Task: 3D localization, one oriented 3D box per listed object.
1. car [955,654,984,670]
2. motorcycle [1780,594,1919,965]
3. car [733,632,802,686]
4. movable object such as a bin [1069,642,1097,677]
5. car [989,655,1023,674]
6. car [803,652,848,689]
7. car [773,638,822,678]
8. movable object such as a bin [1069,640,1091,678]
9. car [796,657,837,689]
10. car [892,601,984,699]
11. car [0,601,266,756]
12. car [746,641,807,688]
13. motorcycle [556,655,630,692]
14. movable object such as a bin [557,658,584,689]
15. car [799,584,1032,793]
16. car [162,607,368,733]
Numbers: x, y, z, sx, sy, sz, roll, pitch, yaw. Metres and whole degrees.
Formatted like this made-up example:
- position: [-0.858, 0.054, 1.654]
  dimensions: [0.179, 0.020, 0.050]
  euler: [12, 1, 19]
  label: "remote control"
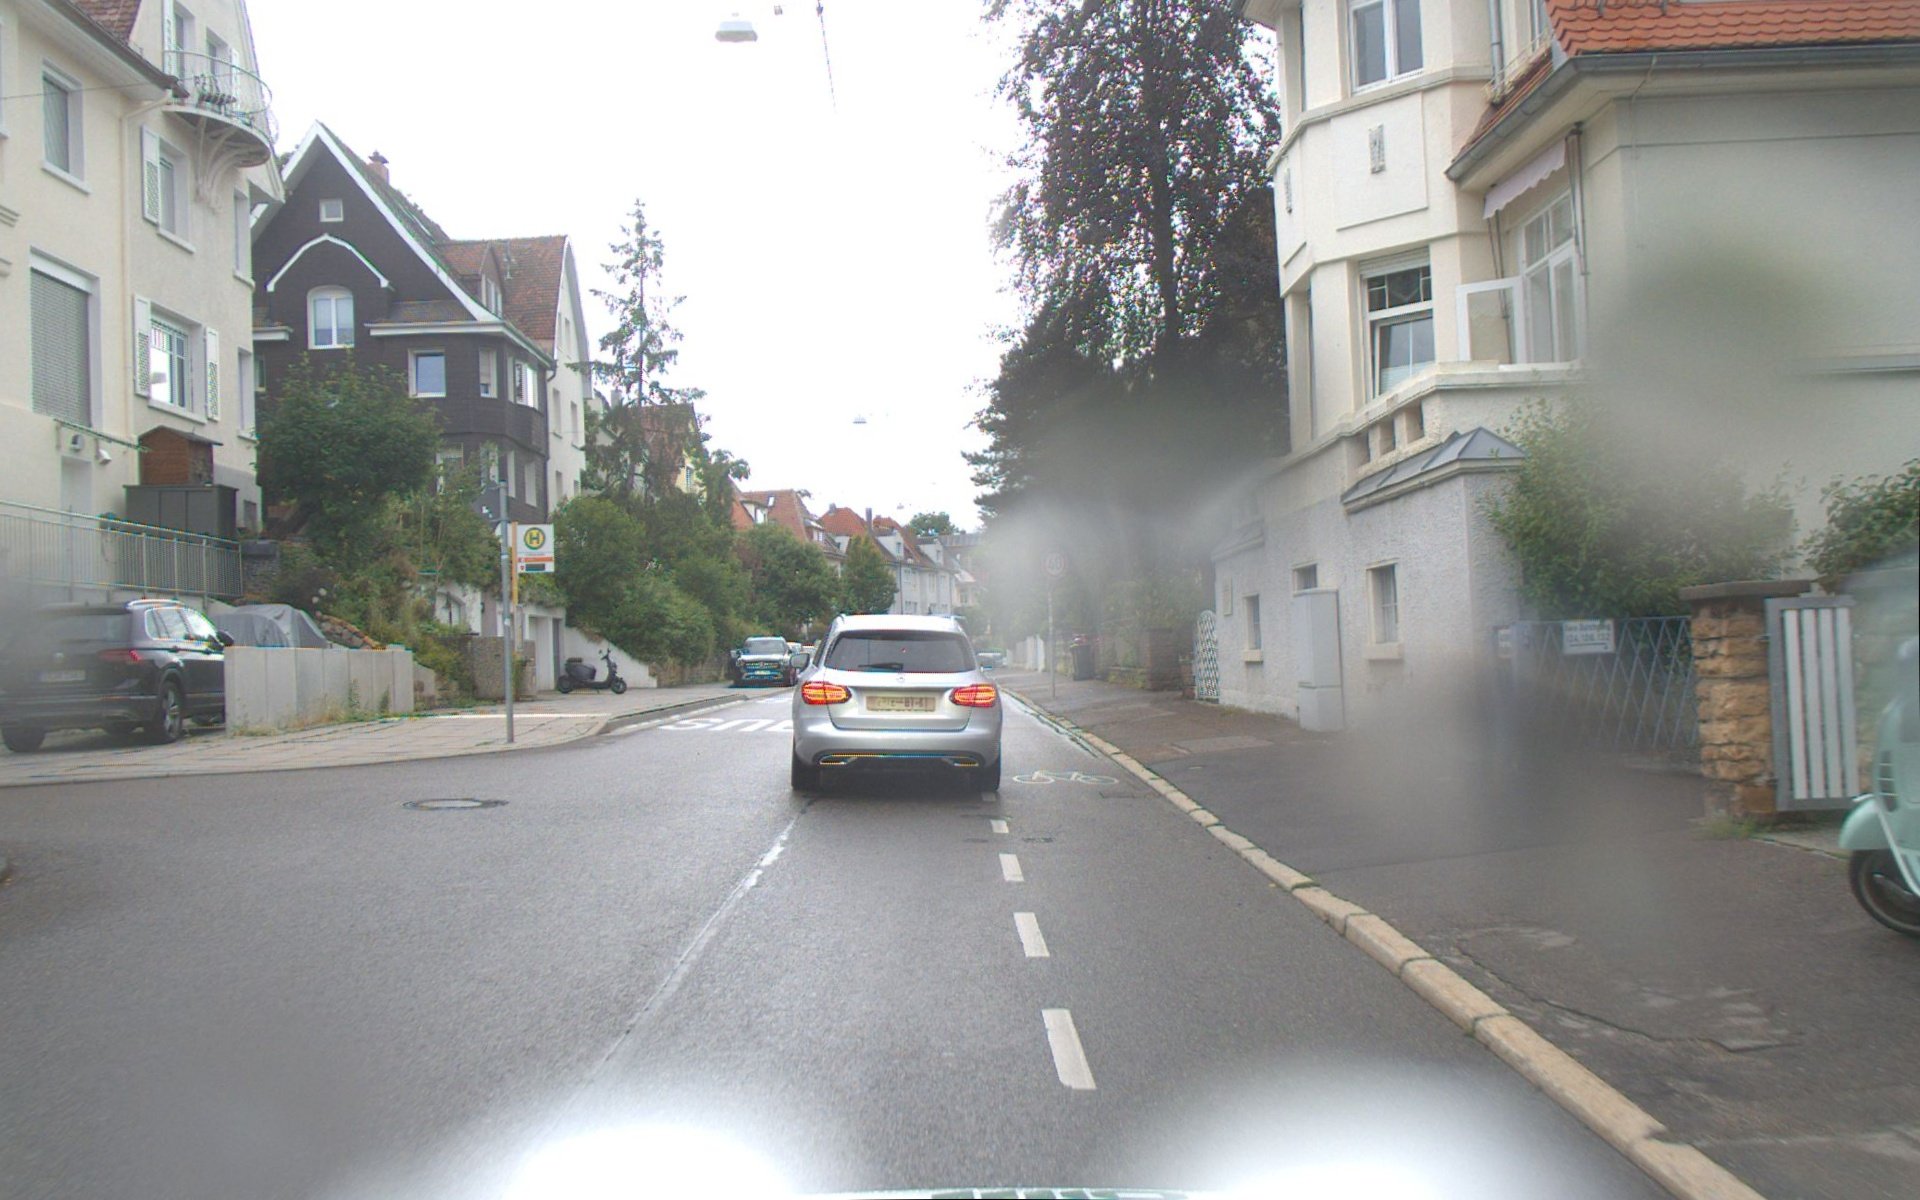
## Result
- position: [0.842, 5.589, 149.215]
  dimensions: [1.608, 1.442, 4.616]
  euler: [-1, -2, 13]
  label: "car"
- position: [3.626, 0.621, 5.485]
  dimensions: [0.679, 1.246, 2.154]
  euler: [-8, -1, 3]
  label: "motorcycle"
- position: [-6.267, 1.935, 54.241]
  dimensions: [1.855, 1.651, 4.376]
  euler: [-1, -2, -2]
  label: "car"
- position: [3.183, 1.544, 42.868]
  dimensions: [0.638, 0.870, 0.503]
  euler: [-1, 0, -3]
  label: "movable object such as a bin"
- position: [4.528, 6.312, 162.390]
  dimensions: [1.952, 1.718, 4.678]
  euler: [-1, 0, 19]
  label: "car"
- position: [-7.162, 3.734, 88.354]
  dimensions: [1.953, 1.911, 5.355]
  euler: [-1, -2, 0]
  label: "car"
- position: [-6.746, 2.382, 68.980]
  dimensions: [1.720, 1.472, 4.414]
  euler: [-1, 0, -2]
  label: "car"
- position: [3.147, 1.556, 43.465]
  dimensions: [0.484, 0.972, 0.503]
  euler: [-1, 0, -3]
  label: "movable object such as a bin"
- position: [-7.027, 3.562, 81.244]
  dimensions: [1.660, 1.472, 3.812]
  euler: [-2, -2, -1]
  label: "car"
- position: [-0.418, 1.098, 35.397]
  dimensions: [1.805, 1.937, 4.000]
  euler: [-1, -3, 1]
  label: "car"
- position: [-9.992, 0.871, 20.072]
  dimensions: [1.731, 1.646, 3.995]
  euler: [-1, 0, -5]
  label: "car"
- position: [-6.539, 2.282, 59.267]
  dimensions: [1.855, 1.472, 3.812]
  euler: [-1, 0, -2]
  label: "car"
- position: [-9.388, 1.882, 42.316]
  dimensions: [1.758, 0.919, 0.603]
  euler: [1, -2, -2]
  label: "motorcycle"
- position: [-11.977, 2.256, 50.850]
  dimensions: [0.480, 0.904, 0.617]
  euler: [-2, -1, 44]
  label: "movable object such as a bin"
- position: [-0.462, 0.741, 14.761]
  dimensions: [1.780, 1.584, 3.996]
  euler: [-1, -2, -4]
  label: "car"
- position: [-10.511, 0.993, 25.318]
  dimensions: [1.731, 1.726, 3.995]
  euler: [-1, 0, -5]
  label: "car"
